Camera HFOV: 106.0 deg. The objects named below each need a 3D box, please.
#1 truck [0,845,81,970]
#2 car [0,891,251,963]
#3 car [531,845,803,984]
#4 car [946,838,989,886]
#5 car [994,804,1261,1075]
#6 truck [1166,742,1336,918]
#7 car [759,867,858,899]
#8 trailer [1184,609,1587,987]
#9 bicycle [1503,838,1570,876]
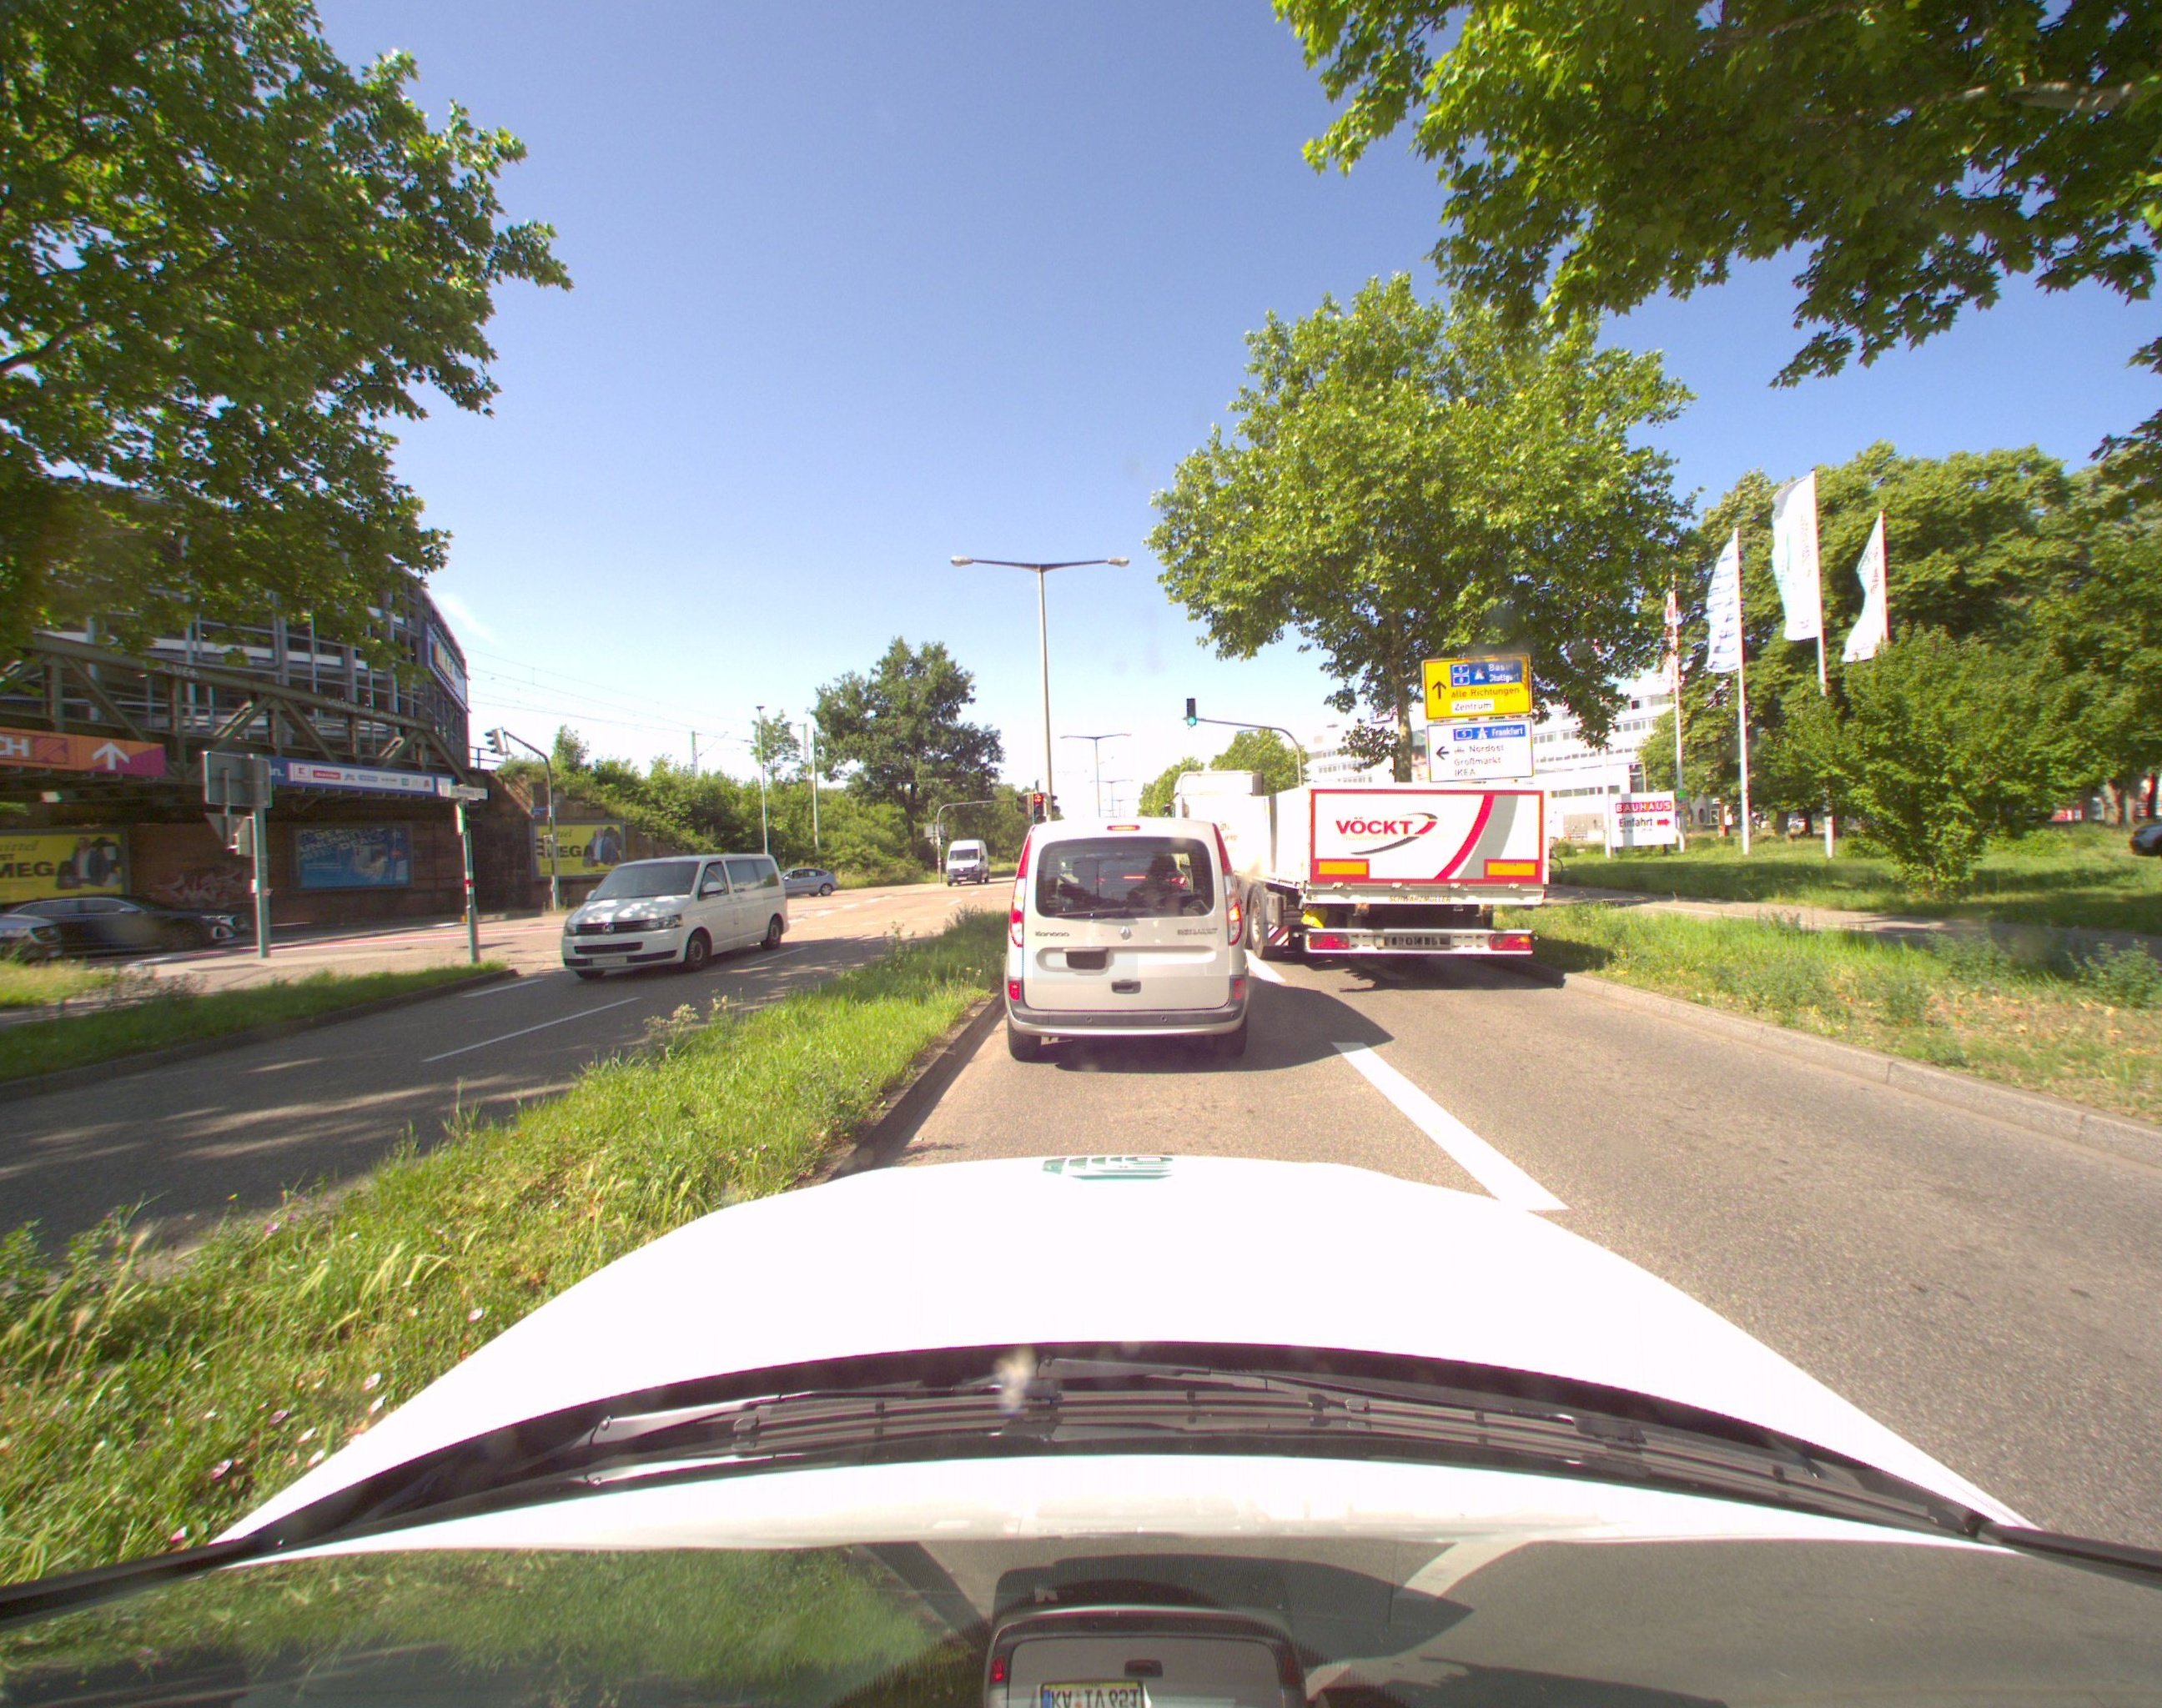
[{"bbox_3d":[-26.248,1.221,17.022,6.431,2.712,1.979,-1,-1,-34],"label":"truck"},{"bbox_3d":[-26.149,1.914,21.939,5.074,1.596,1.510,-1,-1,-35],"label":"car"},{"bbox_3d":[-6.882,0.891,14.346,1.986,1.891,4.990,-4,0,2],"label":"car"},{"bbox_3d":[-6.680,0.456,48.491,2.054,2.614,5.862,-1,0,-3],"label":"car"},{"bbox_3d":[0.384,0.580,7.399,1.742,1.772,3.951,-1,0,2],"label":"car"},{"bbox_3d":[4.071,-0.496,21.415,3.060,3.758,7.479,-1,0,2],"label":"truck"},{"bbox_3d":[-13.552,1.405,40.632,4.251,1.409,1.894,-1,0,-42],"label":"car"},{"bbox_3d":[3.819,-0.532,14.303,3.004,3.740,12.249,-1,0,3],"label":"trailer"},{"bbox_3d":[15.010,0.101,26.865,1.815,1.214,0.634,-1,-1,7],"label":"bicycle"}]
